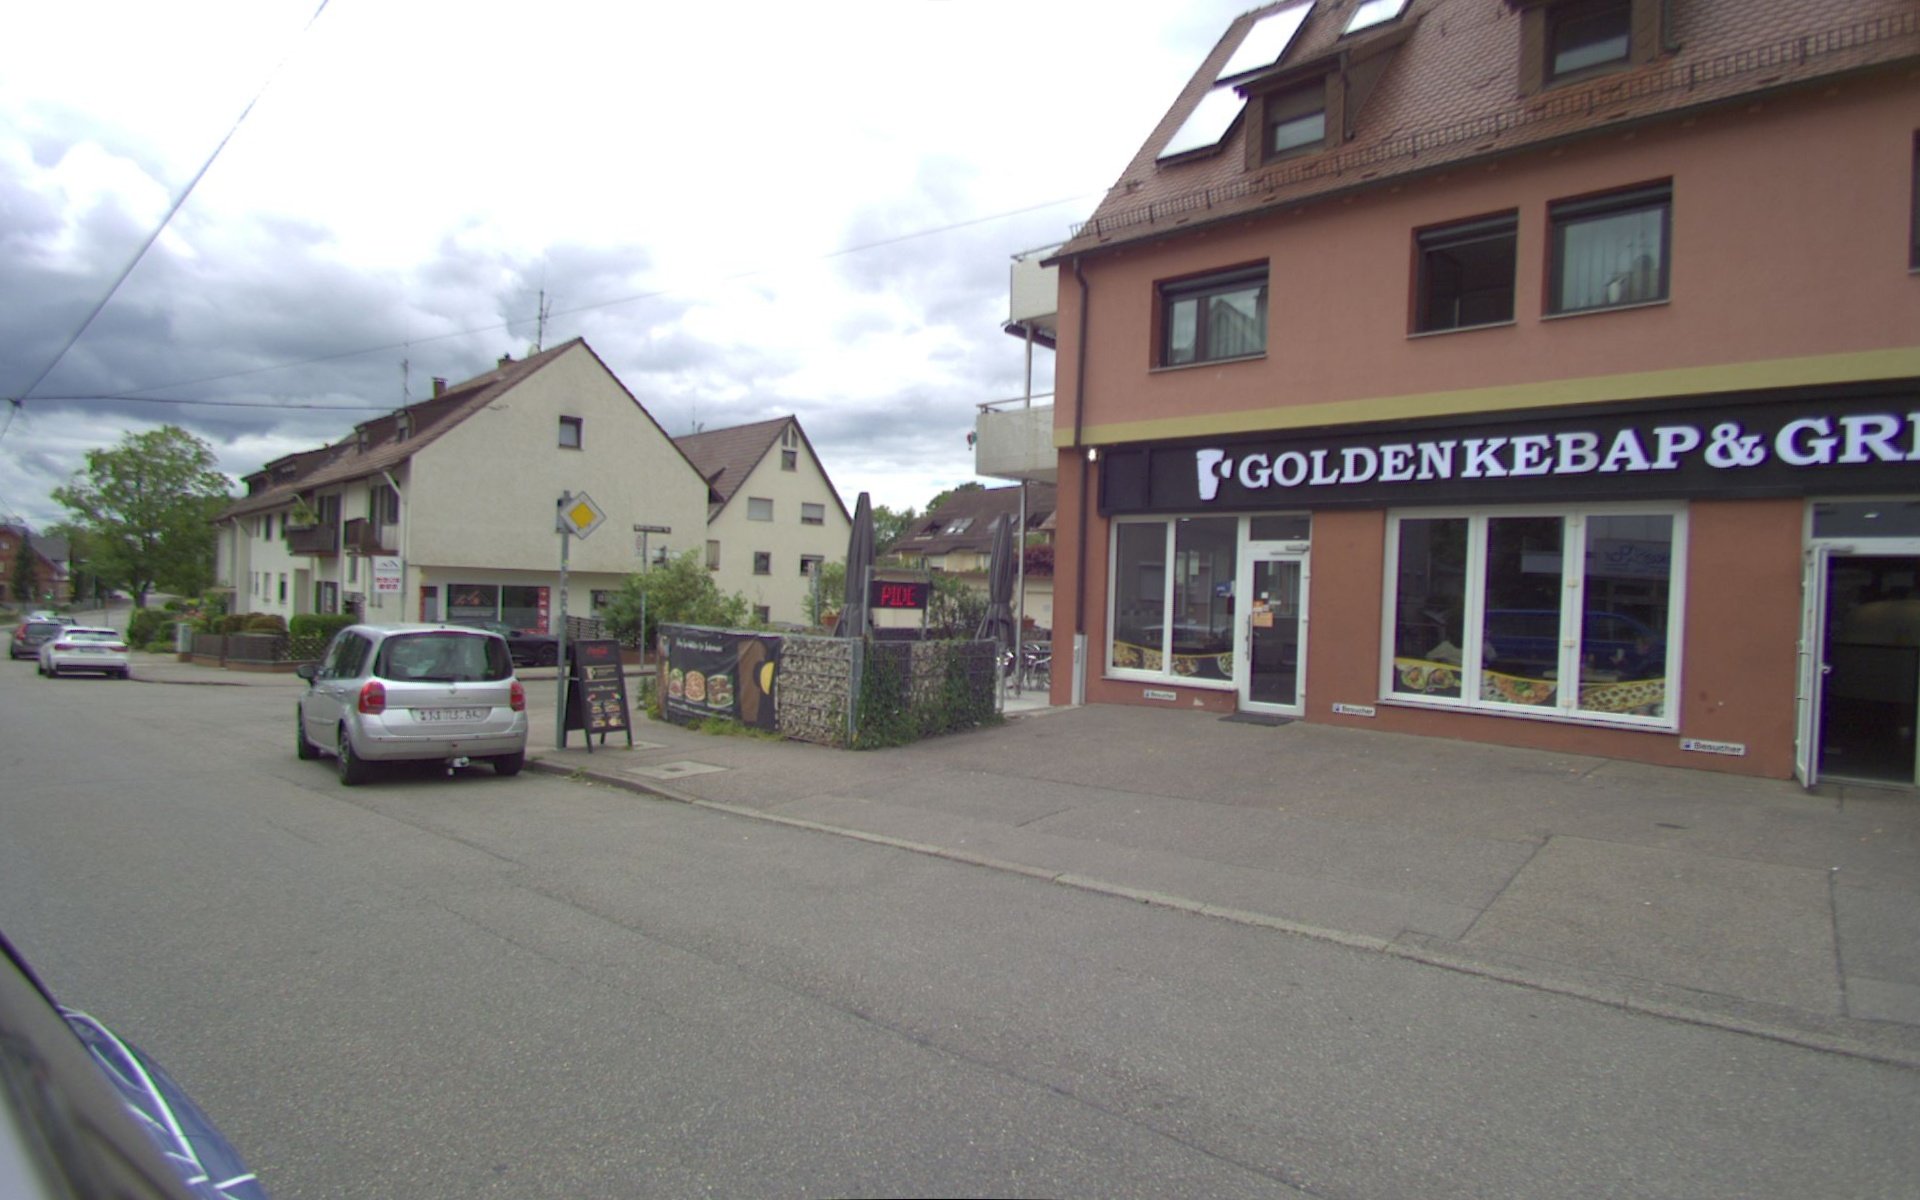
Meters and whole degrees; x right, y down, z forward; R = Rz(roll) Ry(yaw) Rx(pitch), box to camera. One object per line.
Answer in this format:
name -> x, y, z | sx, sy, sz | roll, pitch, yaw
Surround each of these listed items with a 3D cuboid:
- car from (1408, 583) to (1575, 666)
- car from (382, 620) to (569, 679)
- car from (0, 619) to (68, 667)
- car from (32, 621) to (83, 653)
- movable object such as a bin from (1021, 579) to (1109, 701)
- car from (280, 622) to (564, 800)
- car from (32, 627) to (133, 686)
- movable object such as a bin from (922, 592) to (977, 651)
car -> 19.562, 0.853, 37.240 | 5.380, 2.845, 2.692 | 0, -1, -25
car -> -13.839, 1.368, 29.082 | 4.465, 1.483, 2.002 | 0, -1, -44
car -> -36.370, 1.669, 39.686 | 1.825, 1.693, 4.791 | 6, -4, -43
car -> -52.174, 2.131, 58.563 | 1.826, 1.727, 4.584 | 3, -2, -38
movable object such as a bin -> 2.210, 0.833, 21.499 | 1.263, 2.476, 1.643 | 0, -2, -20
car -> -6.077, 1.088, 11.199 | 1.811, 1.590, 4.037 | 5, -5, -41
car -> -24.568, 1.554, 28.283 | 3.900, 1.469, 1.706 | -1, -5, 44
movable object such as a bin -> -0.205, 0.422, 19.848 | 0.564, 1.118, 0.977 | 1, -2, -44
